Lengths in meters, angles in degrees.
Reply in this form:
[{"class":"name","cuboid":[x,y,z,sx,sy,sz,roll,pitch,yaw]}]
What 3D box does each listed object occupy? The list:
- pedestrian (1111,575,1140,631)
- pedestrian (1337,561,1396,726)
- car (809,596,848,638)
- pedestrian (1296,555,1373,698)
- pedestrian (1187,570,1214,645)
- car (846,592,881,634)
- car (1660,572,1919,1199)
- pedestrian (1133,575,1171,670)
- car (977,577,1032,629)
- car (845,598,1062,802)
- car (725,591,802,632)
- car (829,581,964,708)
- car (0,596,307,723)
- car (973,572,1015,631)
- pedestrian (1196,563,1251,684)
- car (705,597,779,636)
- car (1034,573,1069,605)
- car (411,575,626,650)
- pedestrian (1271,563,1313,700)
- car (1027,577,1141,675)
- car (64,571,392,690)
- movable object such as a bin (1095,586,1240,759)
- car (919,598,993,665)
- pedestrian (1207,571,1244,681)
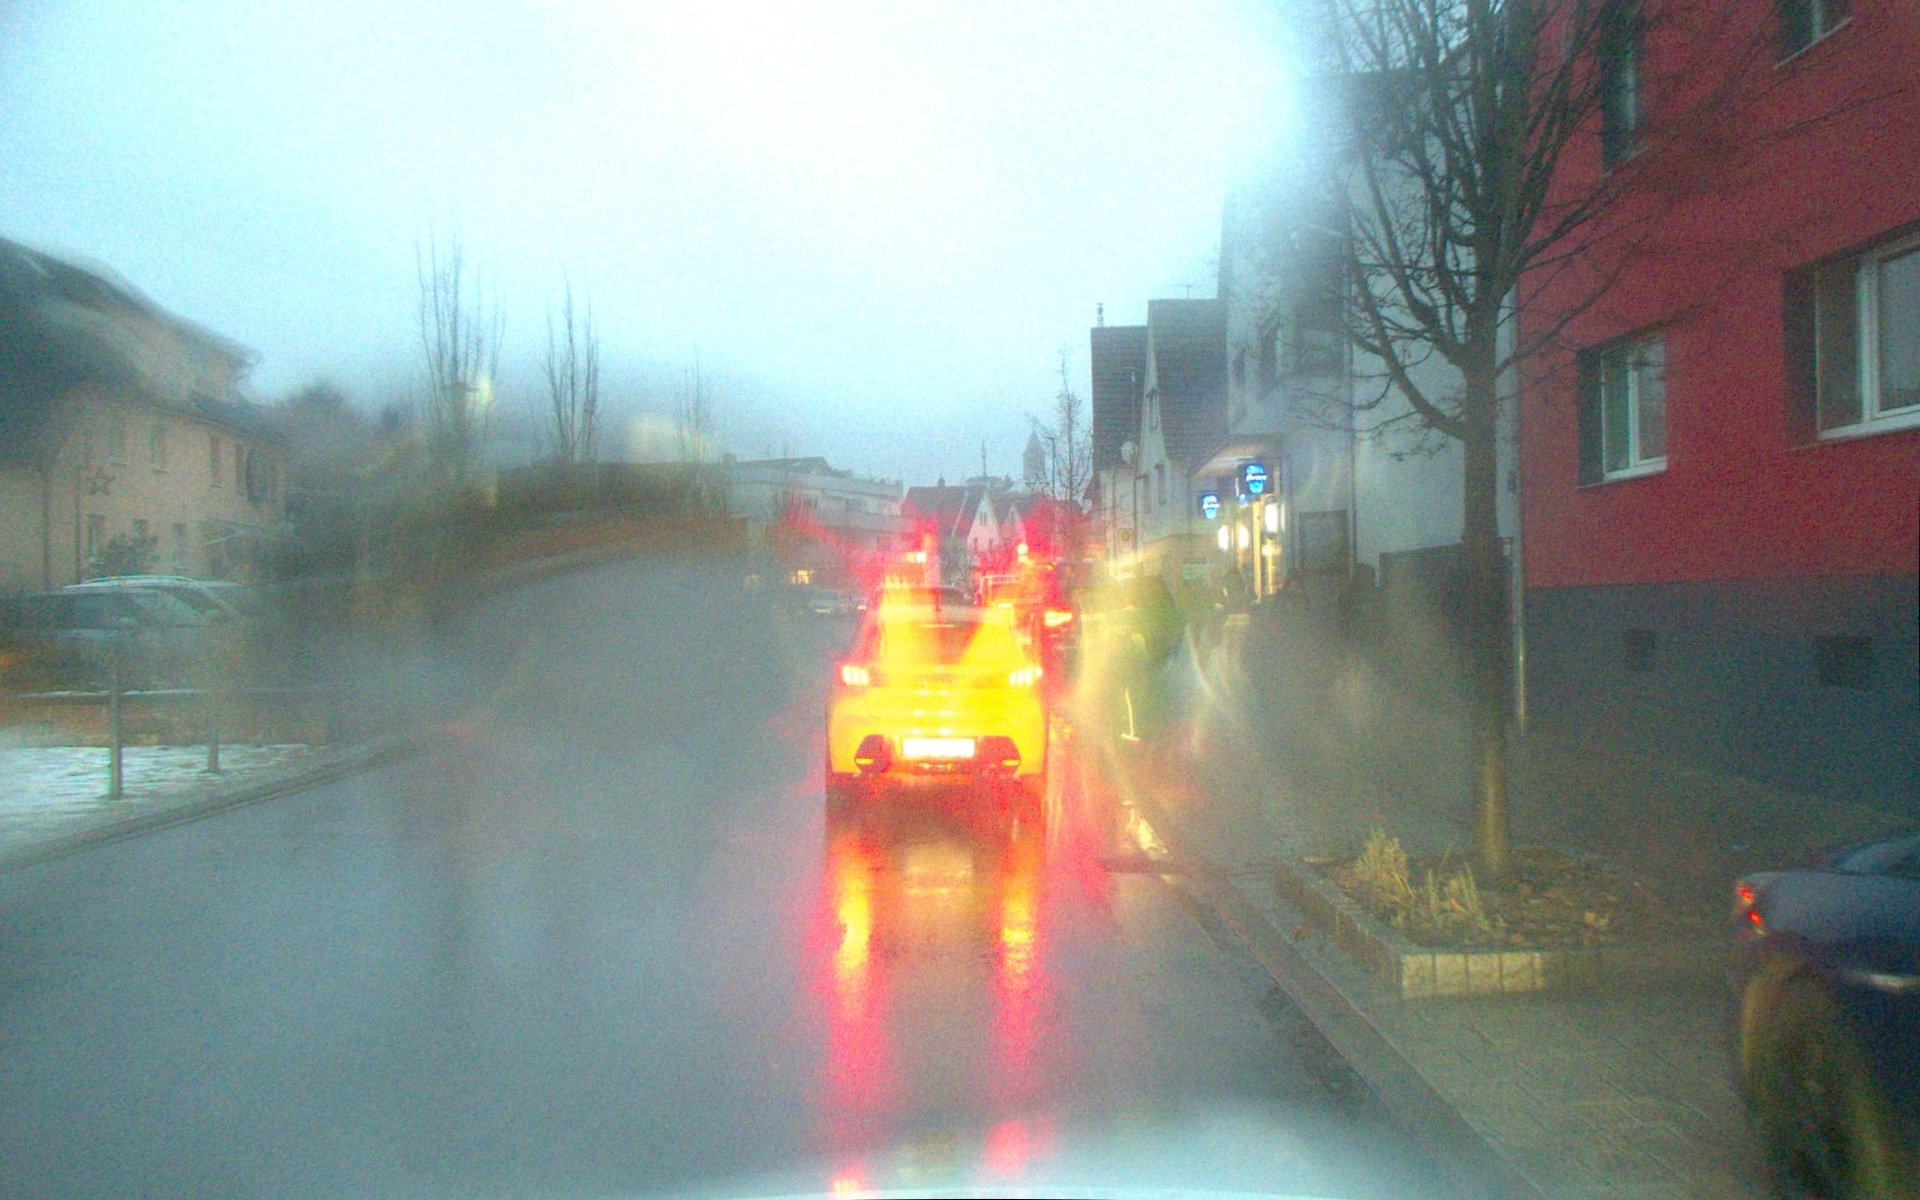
[{"class":"pedestrian","cuboid":[4.640,0.067,46.403,0.608,1.542,0.731,0,1,-14]},{"class":"pedestrian","cuboid":[4.270,0.462,17.404,0.517,1.682,0.954,0,-2,9]},{"class":"car","cuboid":[-6.814,0.928,86.195,1.881,2.063,3.972,1,-2,-3]},{"class":"pedestrian","cuboid":[4.632,0.331,20.511,0.731,1.708,1.052,-2,-1,5]},{"class":"pedestrian","cuboid":[5.657,0.183,38.850,0.605,1.757,0.502,0,-2,11]},{"class":"car","cuboid":[-5.486,0.785,94.171,1.881,2.254,3.972,1,-2,-3]},{"class":"car","cuboid":[2.757,0.682,2.414,1.693,1.490,4.199,-3,0,1]},{"class":"pedestrian","cuboid":[3.545,0.413,30.594,0.561,1.729,0.653,-2,-1,0]},{"class":"car","cuboid":[1.679,0.133,63.394,1.957,1.897,4.082,0,-1,-1]},{"class":"car","cuboid":[-0.069,0.716,13.372,1.531,1.437,3.017,1,0,-1]},{"class":"car","cuboid":[-11.085,0.675,93.123,4.310,2.204,1.987,-1,-3,43]},{"class":"car","cuboid":[-0.837,0.585,23.845,1.730,1.657,3.586,1,0,1]},{"class":"car","cuboid":[-9.842,0.687,19.821,3.375,1.396,1.600,-1,0,-2]},{"class":"car","cuboid":[1.530,0.106,75.939,1.832,2.512,4.443,1,-2,0]},{"class":"pedestrian","cuboid":[3.905,0.331,24.439,0.697,1.745,1.035,-2,0,12]},{"class":"car","cuboid":[-11.911,0.929,90.232,4.097,2.011,1.810,-1,-3,43]},{"class":"car","cuboid":[5.884,-0.674,106.298,1.830,1.867,4.446,0,-2,9]},{"class":"car","cuboid":[-10.307,0.295,38.902,4.533,1.697,1.999,0,-1,-4]},{"class":"pedestrian","cuboid":[4.552,0.422,22.695,0.517,1.832,0.865,0,0,9]},{"class":"car","cuboid":[2.297,0.470,31.643,1.700,1.722,4.384,-1,0,-2]},{"class":"car","cuboid":[-9.941,0.402,22.607,3.713,1.549,1.716,0,-1,5]},{"class":"movable object such as a bin","cuboid":[1.883,0.635,15.275,1.106,1.445,1.417,-4,1,1]},{"class":"car","cuboid":[-0.107,0.643,35.688,1.510,1.355,3.310,1,0,-1]},{"class":"pedestrian","cuboid":[4.126,0.394,25.691,0.469,1.659,1.020,-2,0,12]}]
